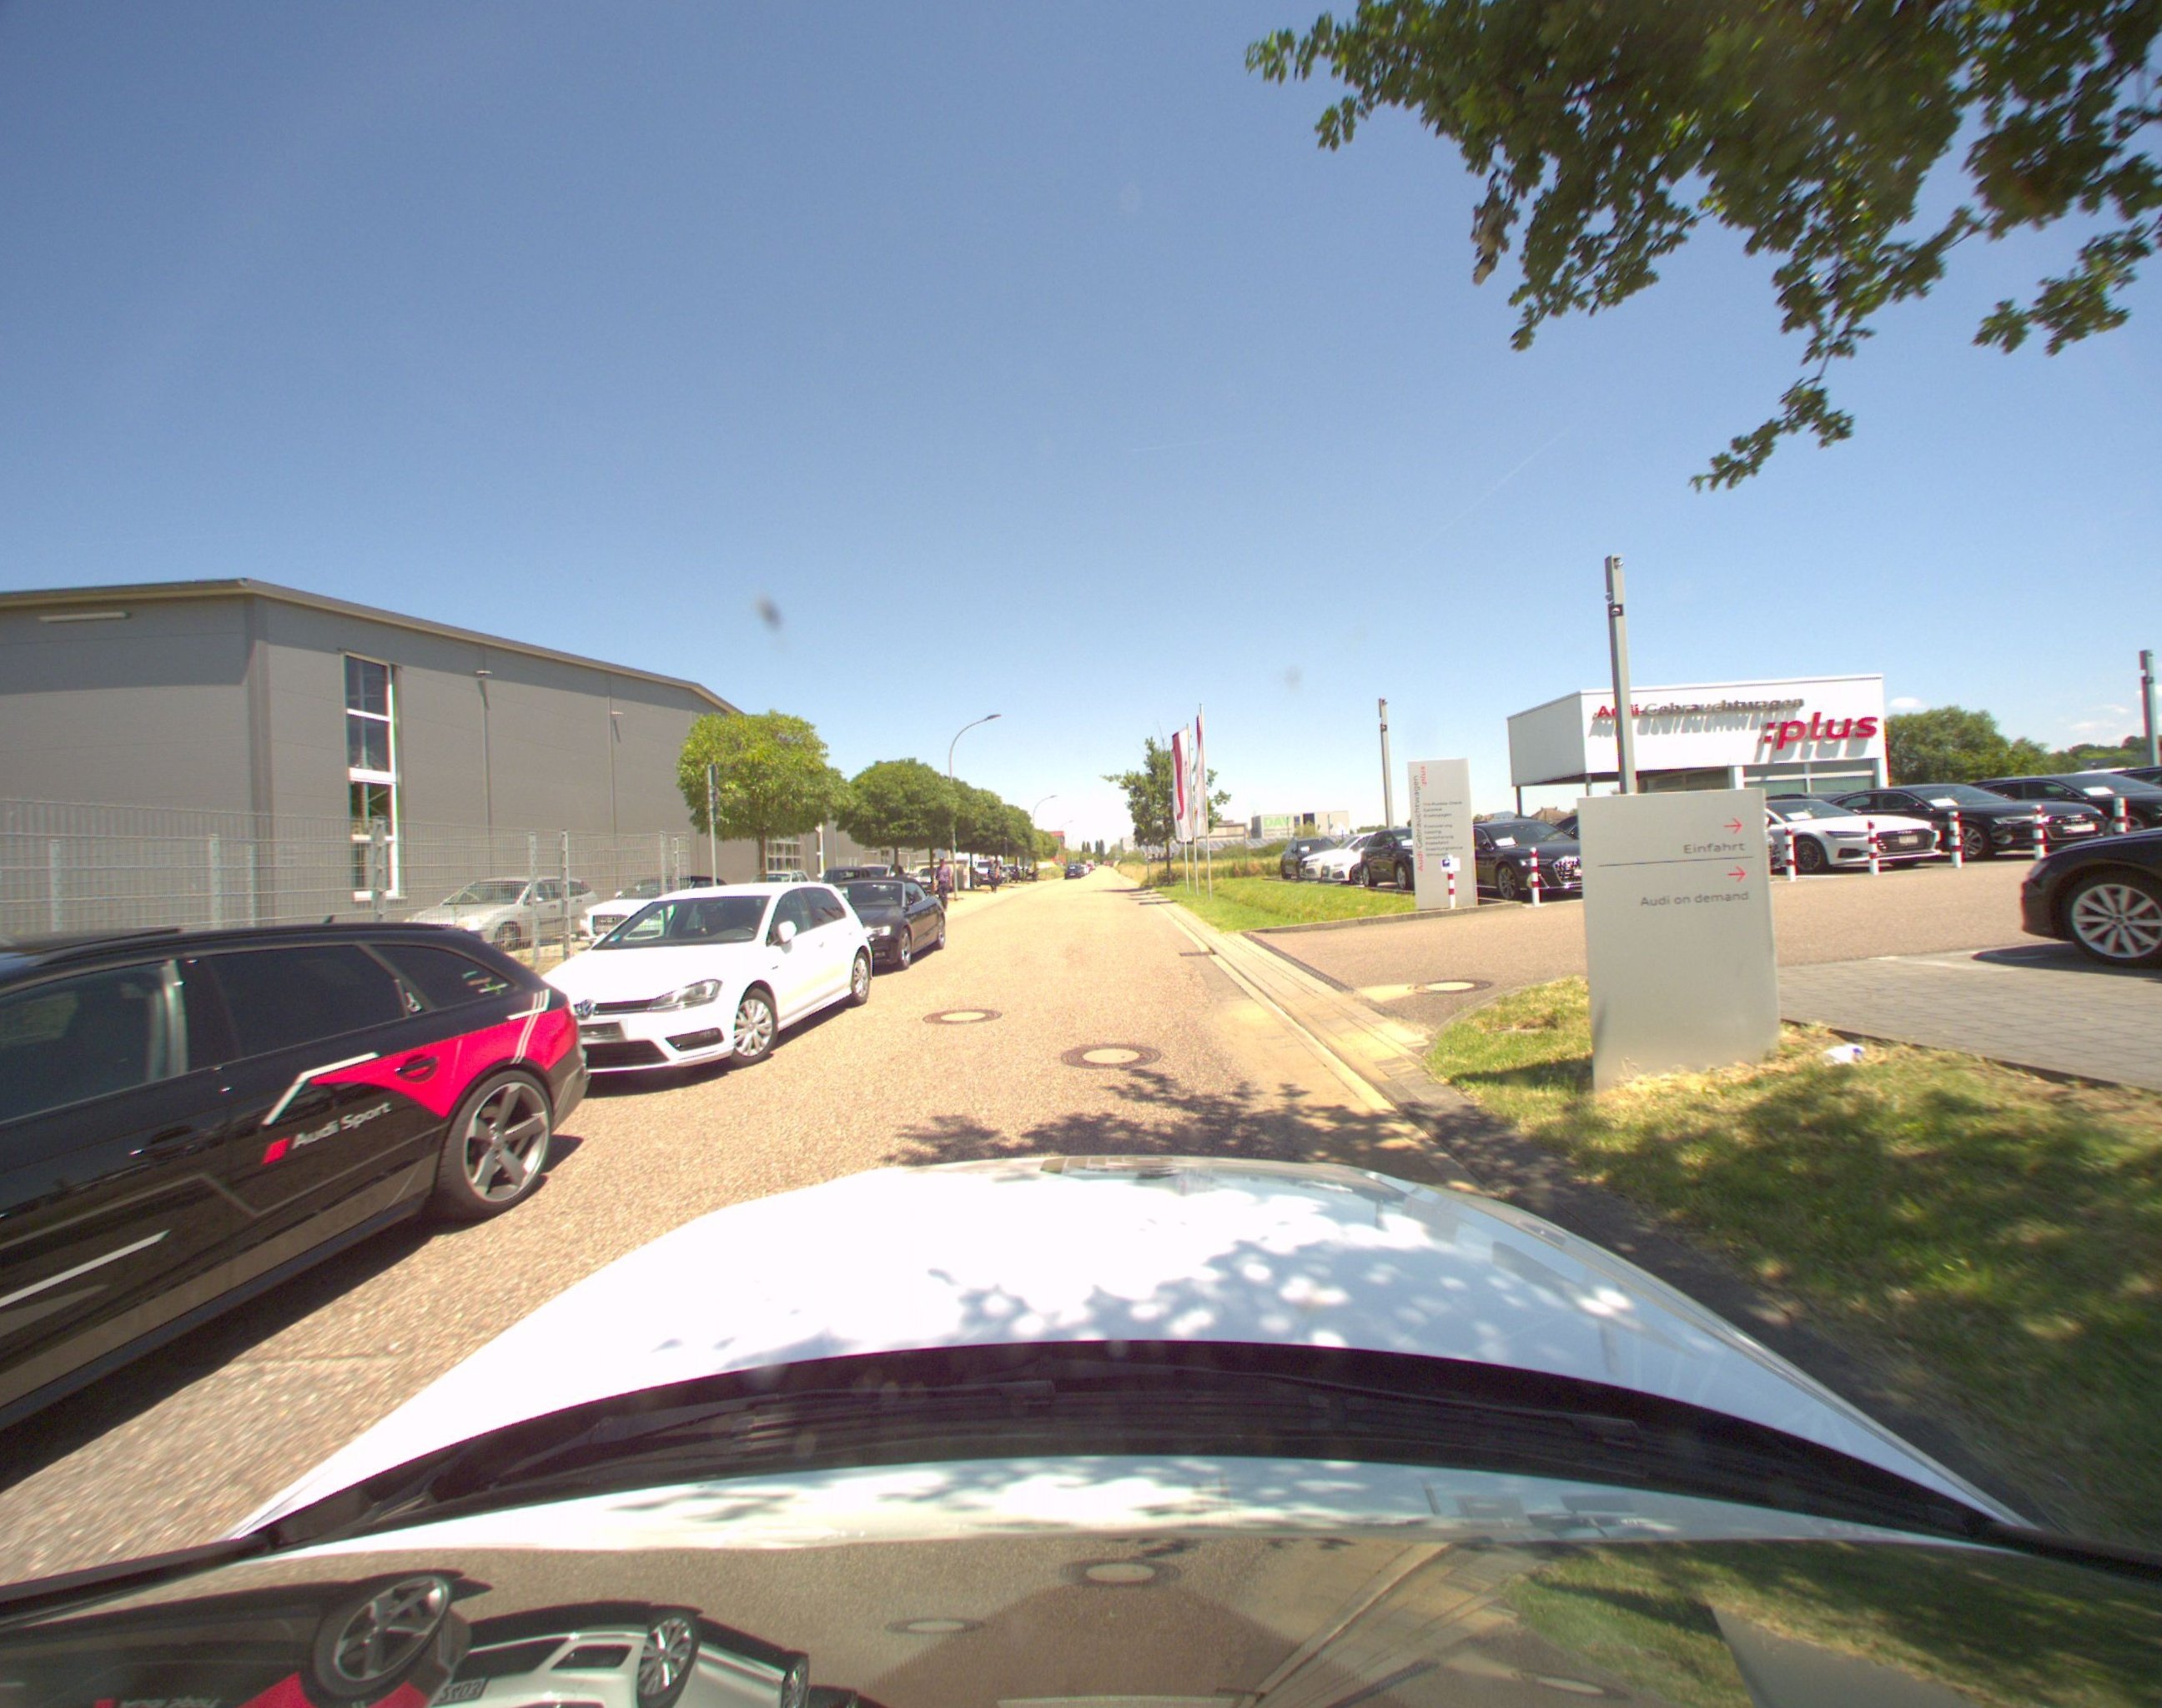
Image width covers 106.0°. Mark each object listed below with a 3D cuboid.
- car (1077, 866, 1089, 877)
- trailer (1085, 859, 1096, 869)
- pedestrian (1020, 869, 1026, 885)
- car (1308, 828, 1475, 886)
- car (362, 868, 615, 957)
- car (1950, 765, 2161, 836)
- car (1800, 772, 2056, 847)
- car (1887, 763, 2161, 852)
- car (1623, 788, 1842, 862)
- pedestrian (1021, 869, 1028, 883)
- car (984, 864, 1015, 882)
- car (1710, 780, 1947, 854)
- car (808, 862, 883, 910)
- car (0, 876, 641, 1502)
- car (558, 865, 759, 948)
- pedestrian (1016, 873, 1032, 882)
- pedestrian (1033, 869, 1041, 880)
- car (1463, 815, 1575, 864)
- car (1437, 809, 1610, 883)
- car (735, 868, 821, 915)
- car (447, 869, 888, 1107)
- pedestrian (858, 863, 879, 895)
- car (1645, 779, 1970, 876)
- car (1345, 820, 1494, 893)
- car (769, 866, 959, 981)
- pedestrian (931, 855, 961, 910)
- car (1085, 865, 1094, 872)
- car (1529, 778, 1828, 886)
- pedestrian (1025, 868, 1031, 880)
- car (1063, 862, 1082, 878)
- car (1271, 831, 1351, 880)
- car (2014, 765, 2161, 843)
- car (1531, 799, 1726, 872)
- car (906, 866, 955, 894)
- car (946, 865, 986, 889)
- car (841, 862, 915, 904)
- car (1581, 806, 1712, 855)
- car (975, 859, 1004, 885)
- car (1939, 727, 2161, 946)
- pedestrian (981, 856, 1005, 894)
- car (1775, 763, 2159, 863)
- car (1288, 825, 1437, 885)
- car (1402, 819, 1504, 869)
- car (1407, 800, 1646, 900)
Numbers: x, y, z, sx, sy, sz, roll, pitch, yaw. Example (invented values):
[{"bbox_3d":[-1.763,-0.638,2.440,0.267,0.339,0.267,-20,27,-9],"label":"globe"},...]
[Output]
[{"bbox_3d":[0.322,2.836,132.403,1.780,1.520,3.984,-3,-1,2],"label":"car"},{"bbox_3d":[2.183,2.337,183.801,2.193,2.137,4.287,-3,-1,1],"label":"trailer"},{"bbox_3d":[-5.852,2.339,81.726,0.503,1.595,0.753,0,-1,4],"label":"pedestrian"},{"bbox_3d":[9.889,0.113,26.187,4.515,1.457,2.031,-4,-1,-1],"label":"car"},{"bbox_3d":[-11.669,1.072,16.474,1.816,1.500,4.262,-1,-1,3],"label":"car"},{"bbox_3d":[27.656,-1.438,22.571,2.017,1.590,4.781,-4,-1,2],"label":"car"},{"bbox_3d":[22.578,-1.098,22.072,2.017,1.590,4.782,-4,-1,3],"label":"car"},{"bbox_3d":[19.453,-0.871,16.109,2.017,1.456,5.079,-4,-1,2],"label":"car"},{"bbox_3d":[17.019,-0.671,21.680,2.017,1.590,4.781,-4,-1,2],"label":"car"},{"bbox_3d":[-4.938,1.932,71.651,0.475,1.150,0.556,0,-3,11],"label":"pedestrian"},{"bbox_3d":[-7.113,1.714,71.378,1.919,1.441,4.843,-3,-2,2],"label":"car"},{"bbox_3d":[19.851,-0.881,22.014,2.017,1.590,4.781,-4,-1,2],"label":"car"},{"bbox_3d":[-8.248,1.072,28.802,1.679,1.500,3.700,-2,0,-3],"label":"car"},{"bbox_3d":[-3.599,0.906,2.522,1.817,1.500,4.522,-3,-1,2],"label":"car"},{"bbox_3d":[-8.729,1.014,17.326,1.816,1.500,4.331,-1,-1,3],"label":"car"},{"bbox_3d":[-5.155,2.119,73.483,1.352,0.749,0.753,0,-1,3],"label":"pedestrian"},{"bbox_3d":[-4.443,2.031,82.140,0.747,1.099,0.647,0,-1,5],"label":"pedestrian"},{"bbox_3d":[17.529,-0.525,32.901,2.016,1.679,4.812,-4,-1,3],"label":"car"},{"bbox_3d":[11.468,-0.166,21.566,2.017,1.590,4.781,-4,-1,2],"label":"car"},{"bbox_3d":[-10.450,1.247,28.365,1.678,1.500,3.701,-1,-1,-2],"label":"car"},{"bbox_3d":[-3.361,0.966,7.734,1.817,1.500,4.260,-3,-1,2],"label":"car"},{"bbox_3d":[-11.623,1.332,44.493,0.837,1.713,0.965,-1,-1,1],"label":"pedestrian"},{"bbox_3d":[14.114,-0.426,16.396,2.017,1.456,5.079,-6,-1,2],"label":"car"},{"bbox_3d":[8.800,0.081,21.712,2.017,1.573,4.781,-4,-1,2],"label":"car"},{"bbox_3d":[-3.412,1.017,13.776,1.818,1.500,4.527,-3,-1,1],"label":"car"},{"bbox_3d":[-4.542,0.953,27.382,0.741,1.802,1.136,-1,-1,3],"label":"pedestrian"},{"bbox_3d":[1.752,3.078,172.486,1.780,1.520,3.983,-3,-1,2],"label":"car"},{"bbox_3d":[11.272,-0.333,16.051,1.889,1.573,5.478,-6,-1,2],"label":"car"},{"bbox_3d":[-5.437,2.026,83.287,0.503,1.192,0.753,0,-1,4],"label":"pedestrian"},{"bbox_3d":[-0.895,1.730,89.773,1.920,1.567,4.189,-3,-1,0],"label":"car"},{"bbox_3d":[9.334,0.086,33.532,2.016,1.692,5.112,-4,-1,3],"label":"car"},{"bbox_3d":[22.551,-1.113,16.337,2.017,1.456,4.904,-6,-1,2],"label":"car"},{"bbox_3d":[14.353,-0.423,21.773,2.017,1.590,4.781,-4,-1,2],"label":"car"},{"bbox_3d":[-8.174,1.387,44.492,1.758,1.453,3.842,-1,-1,3],"label":"car"},{"bbox_3d":[-7.675,1.527,54.765,1.759,1.453,4.715,-3,-1,2],"label":"car"},{"bbox_3d":[-8.284,1.140,33.673,1.759,1.573,4.542,-1,-1,2],"label":"car"},{"bbox_3d":[22.514,-0.868,32.696,2.016,1.654,4.812,-4,-1,3],"label":"car"},{"bbox_3d":[-7.312,1.414,65.519,1.831,2.019,5.124,0,-1,0],"label":"car"},{"bbox_3d":[8.137,-0.236,4.283,1.954,1.457,4.986,-4,-3,1],"label":"car"},{"bbox_3d":[-4.663,1.097,43.174,0.832,1.972,0.971,-2,-1,41],"label":"pedestrian"},{"bbox_3d":[16.801,-0.652,15.998,2.017,1.456,5.079,-6,-1,2],"label":"car"},{"bbox_3d":[9.886,0.044,28.854,4.515,1.692,2.031,-4,-1,-1],"label":"car"},{"bbox_3d":[14.887,-0.348,32.935,2.016,1.725,4.812,-4,-1,3],"label":"car"},{"bbox_3d":[8.683,-0.034,16.578,2.017,1.514,5.241,-6,-1,2],"label":"car"}]
